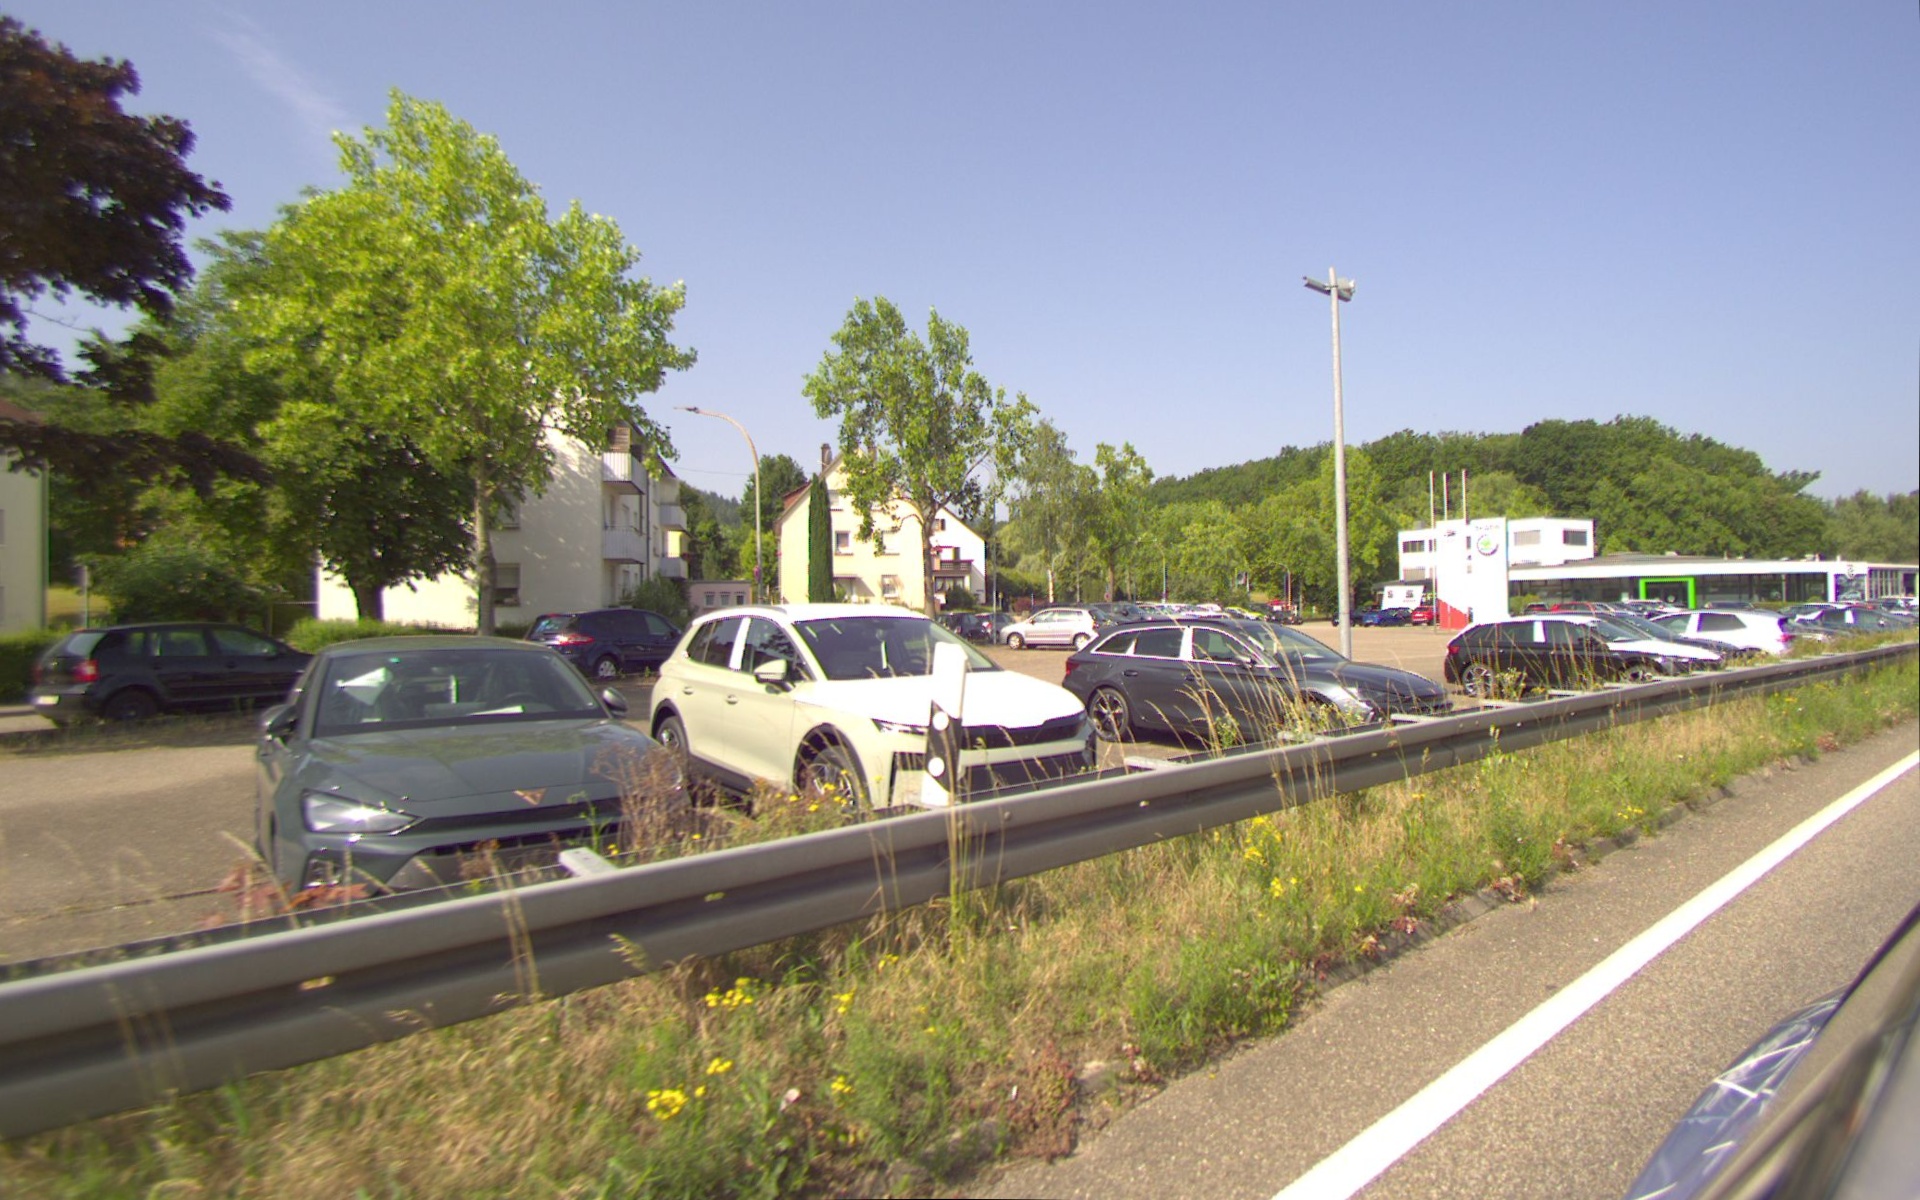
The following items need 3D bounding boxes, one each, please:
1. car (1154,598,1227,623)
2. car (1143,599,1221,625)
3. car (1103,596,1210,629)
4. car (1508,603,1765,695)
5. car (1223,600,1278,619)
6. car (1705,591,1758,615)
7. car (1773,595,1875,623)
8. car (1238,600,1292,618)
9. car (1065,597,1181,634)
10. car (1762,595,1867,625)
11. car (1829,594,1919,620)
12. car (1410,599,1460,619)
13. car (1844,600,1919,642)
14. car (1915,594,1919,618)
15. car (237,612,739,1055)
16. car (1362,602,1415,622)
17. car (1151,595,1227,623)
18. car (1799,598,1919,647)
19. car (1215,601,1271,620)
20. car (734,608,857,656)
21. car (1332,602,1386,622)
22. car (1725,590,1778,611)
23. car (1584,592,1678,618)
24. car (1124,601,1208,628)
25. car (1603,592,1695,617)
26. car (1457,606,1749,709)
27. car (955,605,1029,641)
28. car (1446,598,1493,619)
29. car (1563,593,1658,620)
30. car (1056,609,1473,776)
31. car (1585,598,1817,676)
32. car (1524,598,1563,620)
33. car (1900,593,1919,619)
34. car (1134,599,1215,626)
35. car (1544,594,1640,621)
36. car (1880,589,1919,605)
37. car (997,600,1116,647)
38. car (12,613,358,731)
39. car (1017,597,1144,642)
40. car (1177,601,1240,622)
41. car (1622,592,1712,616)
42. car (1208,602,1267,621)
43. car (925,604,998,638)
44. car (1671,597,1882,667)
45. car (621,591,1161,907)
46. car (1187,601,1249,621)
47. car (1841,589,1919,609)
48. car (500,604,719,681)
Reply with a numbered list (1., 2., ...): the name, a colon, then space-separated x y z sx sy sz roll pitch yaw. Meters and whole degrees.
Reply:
1. car: 16.187 0.684 71.050 4.710 1.654 1.912 0 1 30
2. car: 14.491 0.751 66.034 4.704 1.608 1.914 0 1 27
3. car: 9.516 0.576 49.246 4.733 1.541 1.971 0 0 37
4. car: 13.219 0.864 19.961 1.774 1.588 3.857 -1 0 -37
5. car: 27.100 0.869 94.446 4.738 1.565 1.748 1 1 45
6. car: 55.010 0.179 72.264 1.910 1.584 4.714 0 1 23
7. car: 49.457 0.475 57.993 1.790 1.535 4.107 -1 0 -34
8. car: 29.013 0.847 96.418 1.746 1.565 4.743 -1 1 -42
9. car: 7.009 0.639 43.739 4.608 1.541 1.839 0 0 37
10. car: 47.397 0.502 56.195 1.791 1.535 4.167 -1 1 -37
11. car: 56.344 0.397 62.313 1.807 1.505 4.001 -1 0 -34
12. car: 39.647 0.701 84.434 4.526 1.565 2.002 -1 1 -38
13. car: 36.783 0.810 38.727 1.699 1.509 4.173 -1 2 -36
14. car: 63.094 0.370 63.738 1.756 1.513 4.002 -1 0 -32
15. car: -2.977 0.878 5.764 1.847 1.502 4.161 -1 -1 -36
16. car: 34.871 0.949 82.312 4.376 1.565 1.841 -1 1 -32
17. car: 15.488 0.574 68.511 4.714 1.802 1.910 0 1 32
18. car: 32.146 0.758 35.293 1.708 1.564 4.173 -1 2 -36
19. car: 25.744 0.954 92.154 4.732 1.565 1.750 1 1 41
20. car: -4.535 0.849 28.439 1.579 1.201 3.627 0 0 27
21. car: 33.400 0.964 84.676 4.374 1.565 1.842 -1 1 -30
22. car: 63.145 0.051 80.790 1.765 1.584 4.336 0 1 15
23. car: 43.885 0.304 66.299 1.894 1.584 4.755 -1 1 -32
24. car: 12.477 0.856 61.248 4.698 1.477 1.917 0 1 24
25. car: 46.348 0.272 68.166 1.894 1.584 4.755 -1 1 -32
26. car: 11.075 0.901 17.678 1.666 1.541 3.997 -1 0 -37
27. car: 1.474 1.001 45.441 1.770 1.493 3.950 0 0 28
28. car: 41.398 0.701 82.169 4.533 1.565 1.999 -1 1 -43
29. car: 41.543 0.406 64.733 1.894 1.584 4.755 -1 1 -32
30. car: 3.178 0.858 11.362 1.599 1.462 4.328 -1 0 -40
31. car: 16.805 0.763 23.089 1.748 1.600 3.992 -1 0 -42
32. car: 45.138 0.692 78.211 1.993 1.565 4.547 1 1 38
33. car: 60.922 0.352 62.412 1.758 1.630 4.089 -1 0 -35
34. car: 13.523 0.777 63.835 4.698 1.608 1.917 0 1 24
35. car: 39.319 0.431 63.090 1.894 1.584 4.755 -1 1 -32
36. car: 91.980 -0.281 97.719 1.755 1.483 4.328 -1 1 -31
37. car: 3.306 0.765 34.744 3.728 1.541 1.642 0 0 27
38. car: -10.943 0.919 14.558 1.640 1.384 3.627 0 0 27
39. car: 4.564 0.699 38.519 4.457 1.620 1.823 0 0 29
40. car: 20.291 0.908 82.560 4.714 1.565 1.757 0 1 32
41. car: 48.732 0.249 69.874 1.894 1.584 4.755 -1 1 -32
42. car: 24.618 0.995 89.907 4.729 1.565 1.751 1 1 40
43. car: 0.099 0.786 39.671 1.576 1.201 3.633 0 0 23
44. car: 21.341 0.773 26.588 1.853 1.660 3.997 -1 0 -37
45. car: -0.818 0.783 7.746 2.101 1.660 4.330 -1 0 -37
46. car: 21.614 0.869 84.887 4.717 1.565 1.756 1 1 33
47. car: 75.883 -0.083 83.399 1.753 1.584 4.731 0 1 -14
48. car: -7.488 0.836 22.102 1.896 1.423 4.482 0 0 27
